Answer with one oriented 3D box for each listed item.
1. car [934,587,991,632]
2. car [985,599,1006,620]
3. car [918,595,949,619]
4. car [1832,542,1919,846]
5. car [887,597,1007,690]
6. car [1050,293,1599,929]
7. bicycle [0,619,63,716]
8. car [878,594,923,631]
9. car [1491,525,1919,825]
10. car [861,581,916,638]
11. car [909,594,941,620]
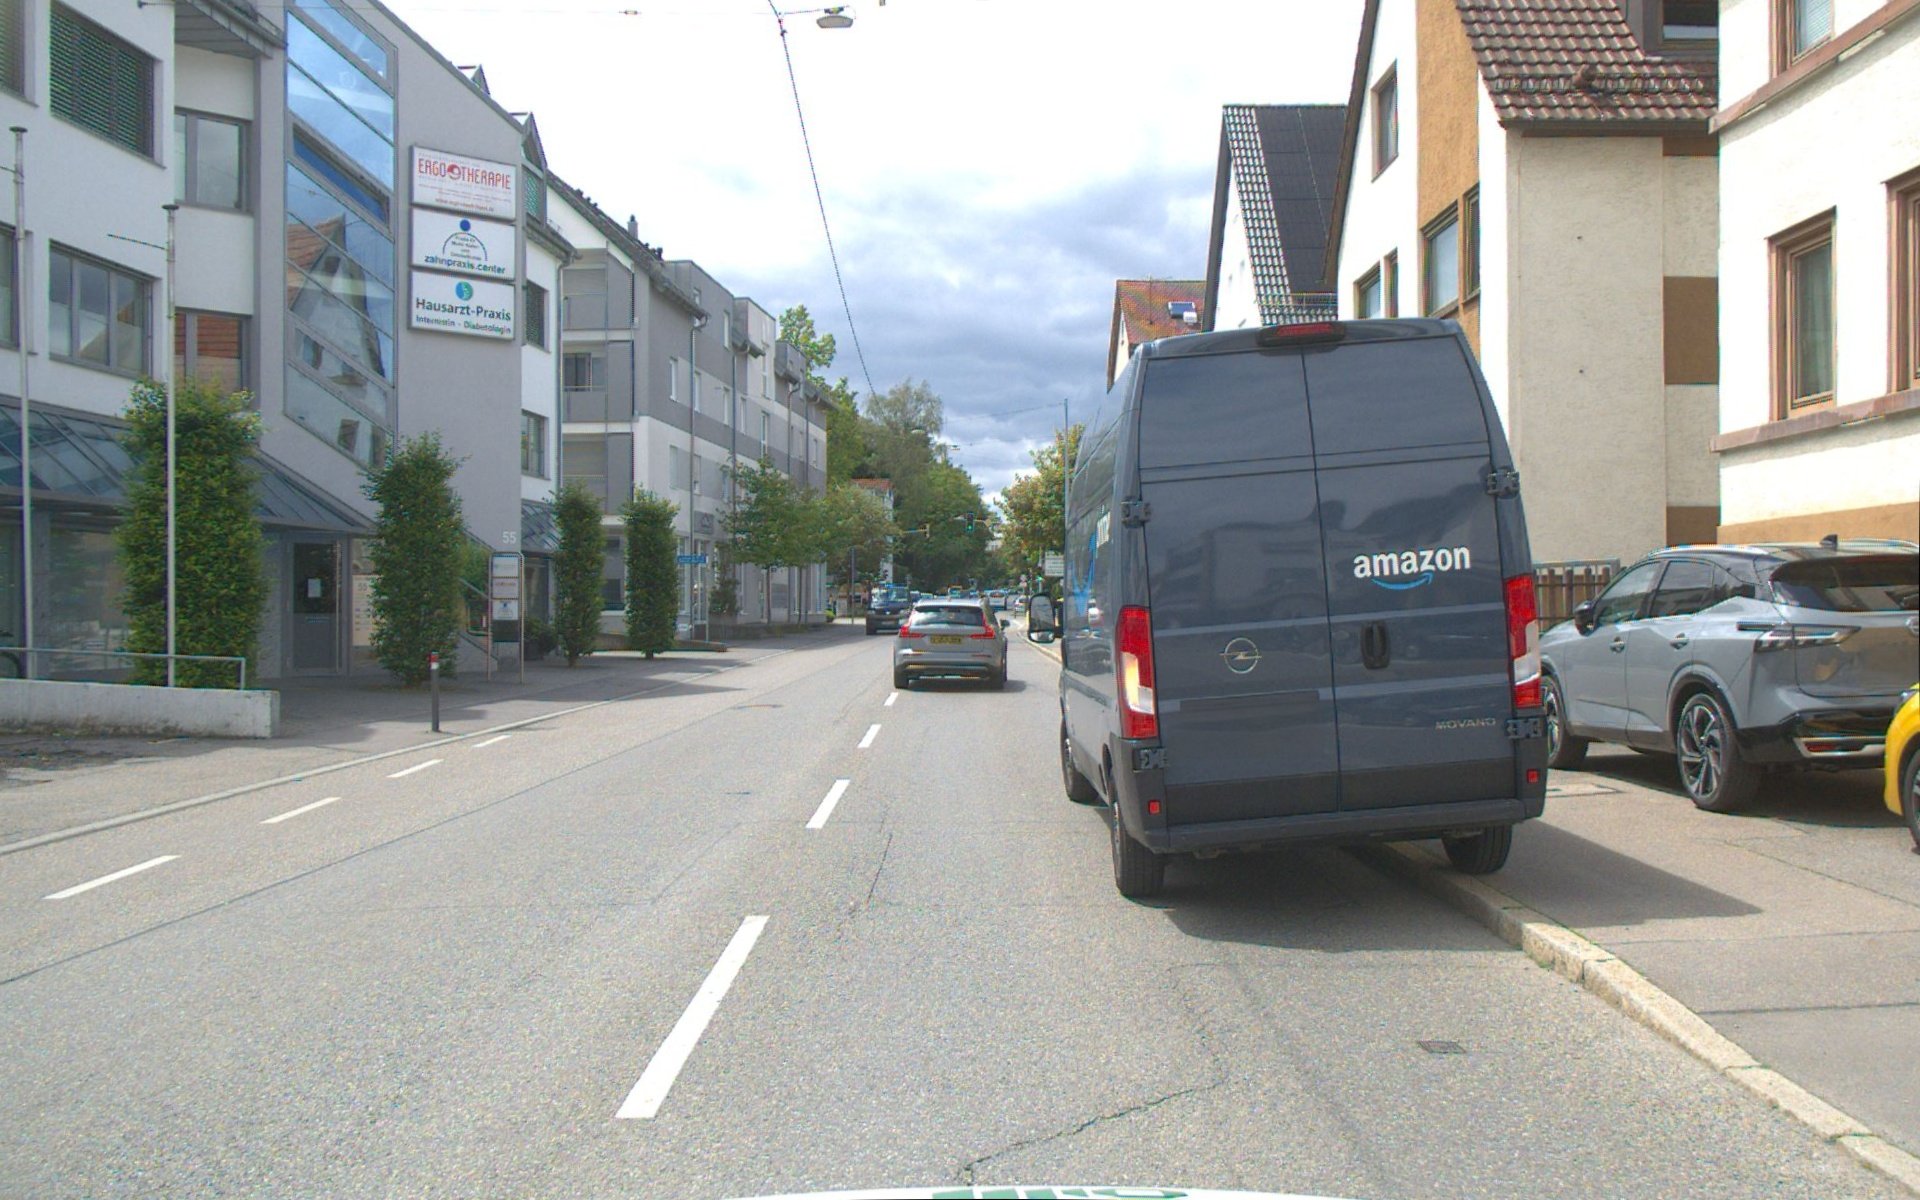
[{"bbox_3d":[0.115,0.317,56.954,1.857,1.472,3.969,0,0,1],"label":"car"},{"bbox_3d":[3.462,0.896,161.526,1.952,2.049,4.001,0,0,1],"label":"car"},{"bbox_3d":[-1.843,0.505,115.351,2.062,1.624,4.649,-1,0,-1],"label":"car"},{"bbox_3d":[5.651,0.508,6.716,1.839,1.472,4.306,-1,2,-2],"label":"car"},{"bbox_3d":[-0.152,0.693,28.472,1.857,1.479,3.970,0,0,3],"label":"car"},{"bbox_3d":[1.792,0.045,10.235,2.206,2.844,5.569,-1,0,1],"label":"car"},{"bbox_3d":[-11.498,0.796,19.583,0.617,1.114,2.003,-1,0,1],"label":"bicycle"},{"bbox_3d":[-2.873,0.595,80.394,2.062,1.739,4.764,-1,0,-1],"label":"car"},{"bbox_3d":[5.384,0.385,11.502,1.823,1.640,4.585,-2,0,-1],"label":"car"},{"bbox_3d":[-2.922,0.374,68.367,2.063,2.158,4.764,-2,0,-1],"label":"car"},{"bbox_3d":[-2.272,0.419,107.772,2.062,1.624,4.649,-1,0,-1],"label":"car"}]
